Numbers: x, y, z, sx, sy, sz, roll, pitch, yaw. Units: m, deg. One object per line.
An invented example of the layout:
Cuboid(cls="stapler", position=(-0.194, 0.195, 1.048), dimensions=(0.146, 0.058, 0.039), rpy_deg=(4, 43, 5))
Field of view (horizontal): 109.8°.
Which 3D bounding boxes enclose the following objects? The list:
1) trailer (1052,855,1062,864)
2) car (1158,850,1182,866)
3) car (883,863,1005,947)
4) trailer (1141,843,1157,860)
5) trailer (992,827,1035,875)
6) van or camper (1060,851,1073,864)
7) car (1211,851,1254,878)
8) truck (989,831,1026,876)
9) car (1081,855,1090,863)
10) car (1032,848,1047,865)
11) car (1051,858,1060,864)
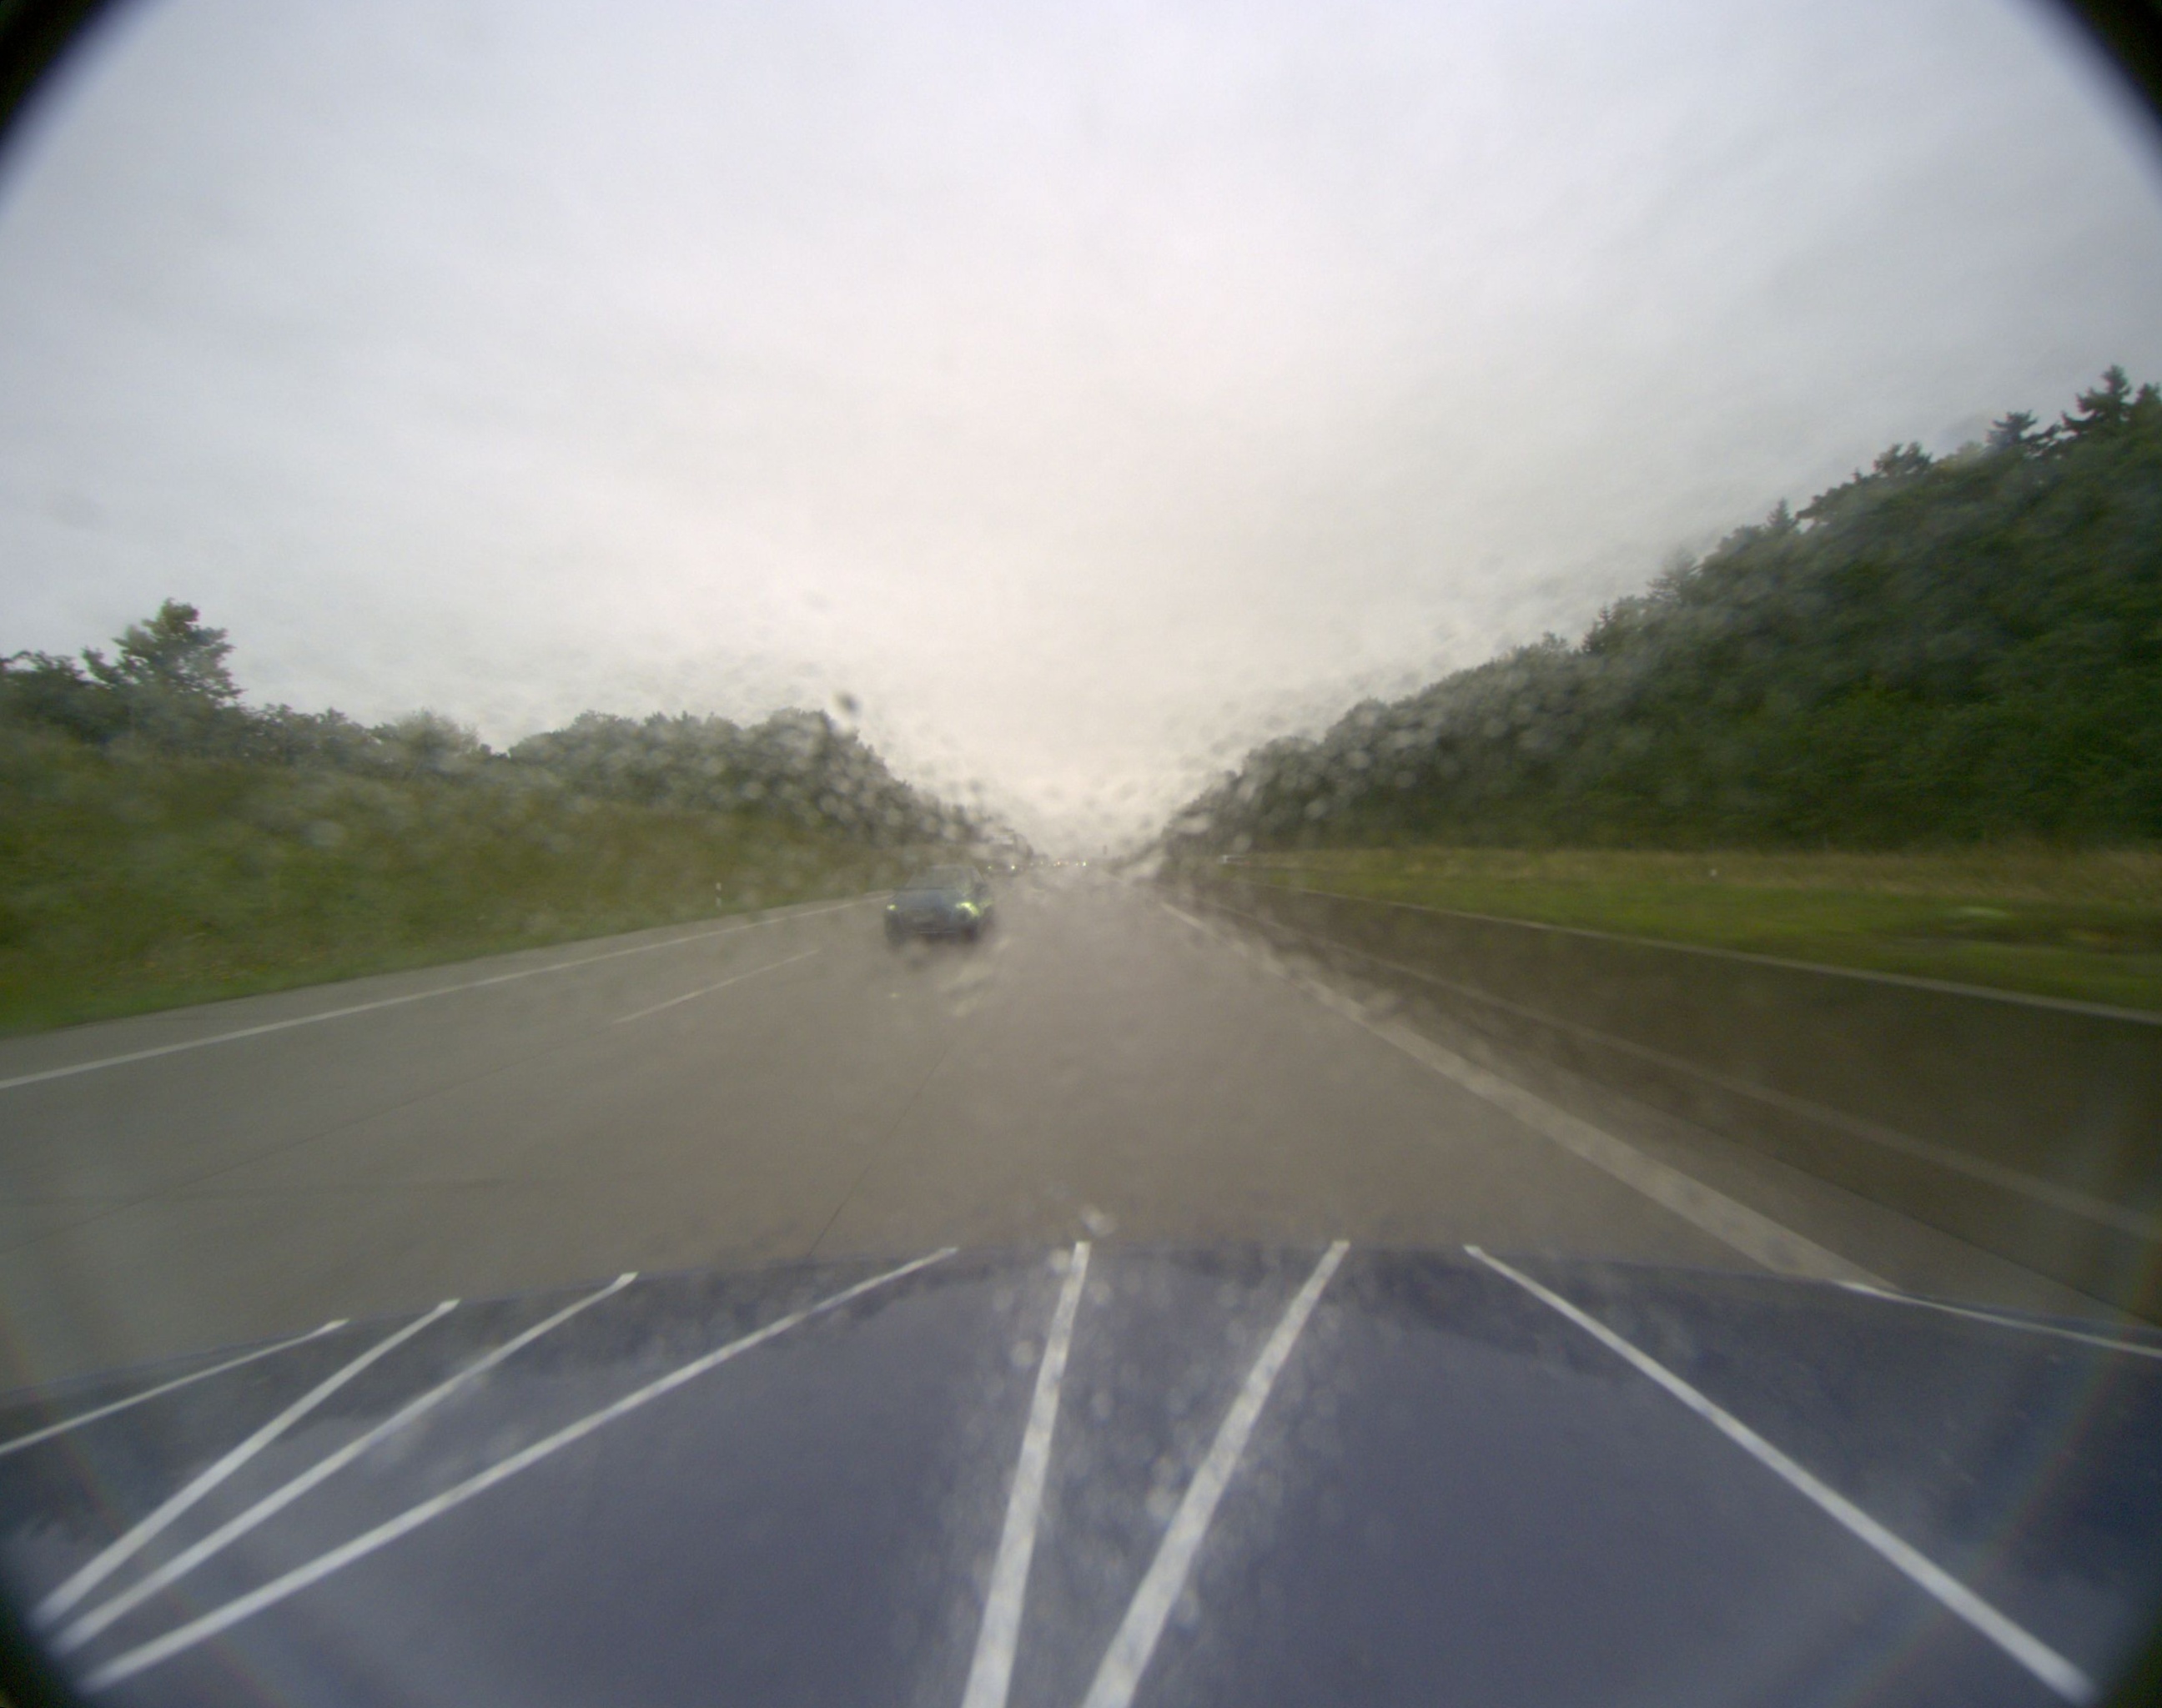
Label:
Cuboid(cls="trailer", position=(-6.547, 1.522, 207.613), dimensions=(2.348, 2.444, 5.940), rpy_deg=(-1, 0, 1))
Cuboid(cls="car", position=(9.015, 0.362, 77.020), dimensions=(1.819, 1.533, 4.346), rpy_deg=(-2, 0, 0))
Cuboid(cls="car", position=(-2.772, 0.971, 16.425), dimensions=(1.733, 1.450, 4.672), rpy_deg=(-1, 0, 0))
Cuboid(cls="trailer", position=(16.442, -0.517, 184.722), dimensions=(2.671, 3.948, 11.136), rpy_deg=(-1, 0, 0))
Cuboid(cls="trailer", position=(-6.782, -0.196, 78.737), dimensions=(2.713, 4.353, 15.206), rpy_deg=(-3, -1, 1))
Cuboid(cls="van or camper", position=(-3.000, 0.709, 160.560), dimensions=(2.233, 2.537, 7.950), rpy_deg=(-2, 0, 1))
Cuboid(cls="car", position=(9.120, 0.587, 45.968), dimensions=(1.656, 1.533, 4.454), rpy_deg=(-2, 0, 0))
Cuboid(cls="truck", position=(-6.808, -0.036, 70.948), dimensions=(2.643, 3.930, 5.686), rpy_deg=(-3, -1, 1))
Cuboid(cls="car", position=(0.924, 0.948, 152.779), dimensions=(1.733, 1.450, 4.672), rpy_deg=(-2, 0, 1))
Cuboid(cls="car", position=(-7.169, 0.410, 131.084), dimensions=(1.945, 2.642, 6.588), rpy_deg=(-3, -1, 1))
Cuboid(cls="car", position=(-6.722, 1.833, 201.652), dimensions=(1.998, 1.575, 5.955), rpy_deg=(-3, -1, 1))
